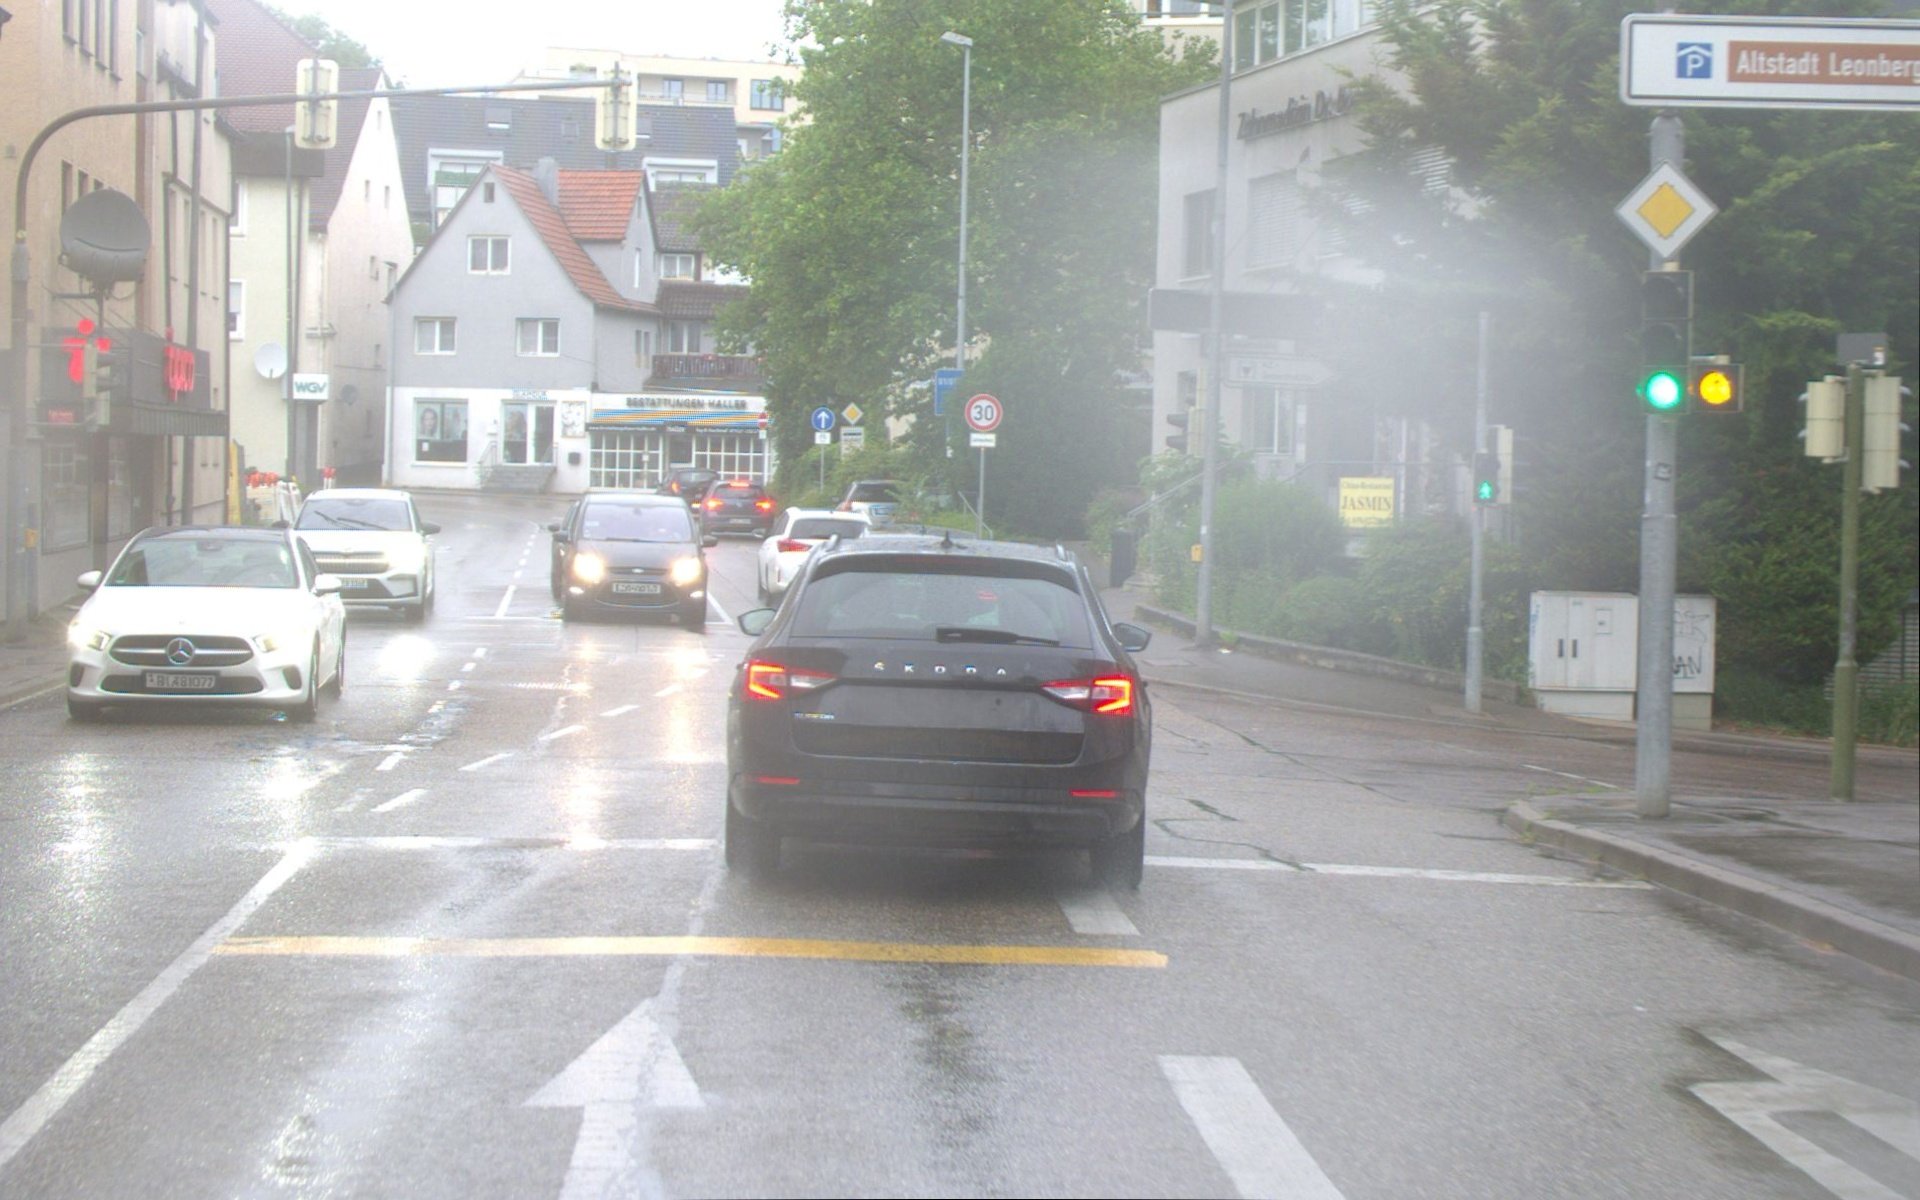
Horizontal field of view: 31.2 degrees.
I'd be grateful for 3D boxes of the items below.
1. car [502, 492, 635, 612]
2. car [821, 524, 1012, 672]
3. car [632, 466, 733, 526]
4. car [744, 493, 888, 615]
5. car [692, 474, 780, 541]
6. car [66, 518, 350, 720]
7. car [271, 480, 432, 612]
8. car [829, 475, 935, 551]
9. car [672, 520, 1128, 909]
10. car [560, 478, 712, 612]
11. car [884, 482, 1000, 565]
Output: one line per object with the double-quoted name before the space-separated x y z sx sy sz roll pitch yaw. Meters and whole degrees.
"car" -5.741 -0.730 50.196 1.784 1.557 4.403 2 2 -7
"car" -0.464 -0.063 35.563 1.818 1.355 3.990 2 2 -1
"car" -8.026 -2.991 99.080 1.892 1.676 3.689 0 1 -22
"car" -2.143 -0.634 50.186 1.727 1.585 4.185 3 -1 -6
"car" -5.517 -2.265 84.301 1.892 1.585 3.689 0 1 -7
"car" -5.704 0.088 26.490 1.690 1.368 4.114 0 2 -6
"car" -7.773 -0.735 44.199 1.784 1.555 4.338 1 2 -7
"car" -1.758 -1.955 76.388 1.851 1.635 3.872 0 2 -9
"car" -0.338 0.413 15.897 1.782 1.478 4.247 2 2 -3
"car" -4.278 -0.758 44.892 1.784 1.557 4.403 2 2 -7
"car" -0.396 -1.588 70.489 1.851 1.635 3.539 0 2 -9
